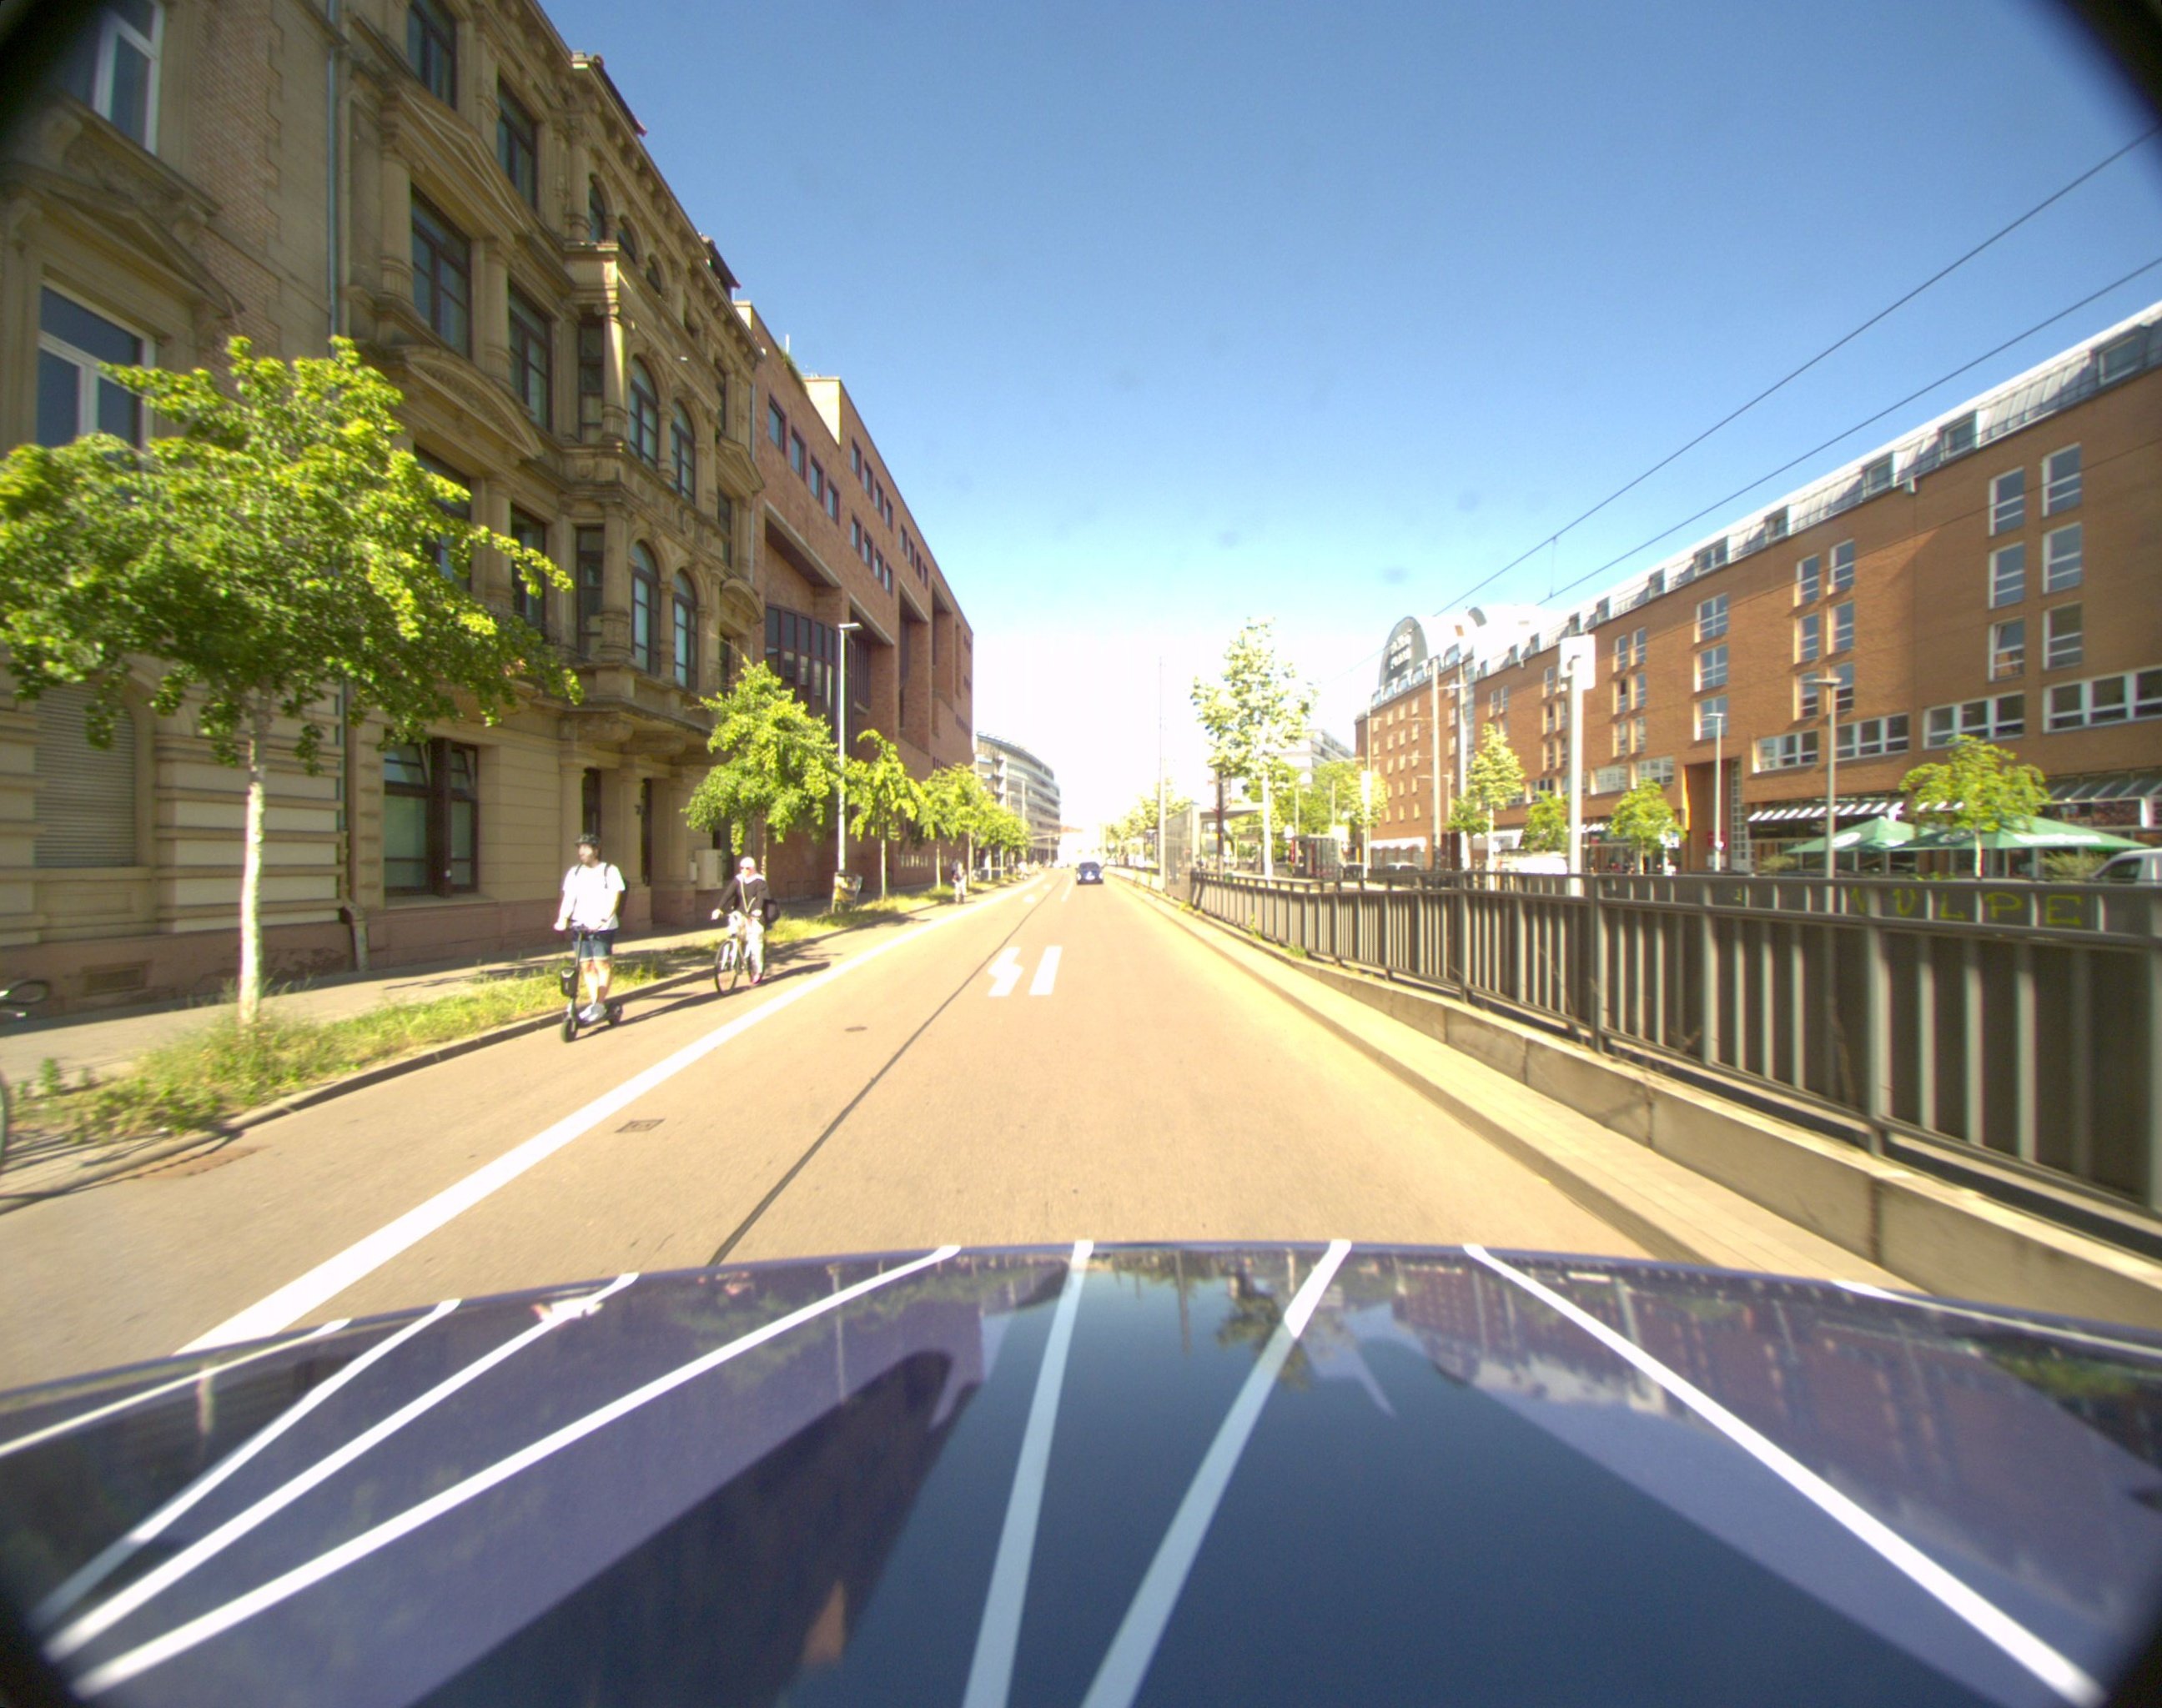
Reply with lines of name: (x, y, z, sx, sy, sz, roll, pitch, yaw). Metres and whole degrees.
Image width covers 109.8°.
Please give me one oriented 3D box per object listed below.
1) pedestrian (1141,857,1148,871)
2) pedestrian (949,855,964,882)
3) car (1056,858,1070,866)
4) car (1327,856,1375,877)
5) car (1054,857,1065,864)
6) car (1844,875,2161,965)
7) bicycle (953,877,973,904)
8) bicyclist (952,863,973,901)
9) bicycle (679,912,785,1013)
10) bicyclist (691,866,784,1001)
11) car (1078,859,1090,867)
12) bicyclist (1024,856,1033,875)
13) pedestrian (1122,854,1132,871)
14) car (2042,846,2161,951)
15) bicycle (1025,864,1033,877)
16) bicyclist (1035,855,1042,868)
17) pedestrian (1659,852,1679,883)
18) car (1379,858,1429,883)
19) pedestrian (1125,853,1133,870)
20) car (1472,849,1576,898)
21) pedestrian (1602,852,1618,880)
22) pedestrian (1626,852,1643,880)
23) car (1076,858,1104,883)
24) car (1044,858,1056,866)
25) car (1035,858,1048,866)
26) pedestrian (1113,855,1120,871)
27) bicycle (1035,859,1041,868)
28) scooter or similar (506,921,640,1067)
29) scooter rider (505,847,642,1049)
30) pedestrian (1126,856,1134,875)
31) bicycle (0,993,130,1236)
pedestrian: (7.122, 1.082, 85.257, 0.610, 1.560, 0.908, 0, 0, -3)
pedestrian: (-8.622, 1.013, 52.654, 0.790, 1.872, 1.106, 0, 0, 0)
car: (-3.711, 1.600, 158.553, 2.120, 1.547, 4.003, 0, 0, 9)
car: (17.798, 0.807, 50.238, 1.699, 1.279, 3.960, -2, 1, 0)
car: (-4.881, 1.585, 174.139, 1.882, 1.455, 4.002, -2, 1, 7)
car: (17.399, 1.152, 14.493, 1.699, 1.279, 3.960, -2, 1, 0)
bicycle: (-4.868, 1.509, 31.318, 0.558, 1.021, 1.507, -2, 0, 0)
bicyclist: (-4.890, 1.142, 31.352, 0.659, 1.528, 0.909, -2, 0, 0)
bicycle: (-4.633, 1.400, 10.225, 0.558, 1.086, 1.792, -2, 0, 0)
bicyclist: (-4.606, 1.039, 10.243, 0.781, 1.701, 0.868, -2, 0, 0)
car: (0.637, 1.907, 160.188, 1.882, 1.455, 4.002, -2, 1, 8)
bicyclist: (-4.697, 1.038, 68.023, 0.684, 1.718, 0.909, -2, 0, 3)
pedestrian: (4.754, 0.877, 78.753, 0.994, 1.800, 1.022, 0, 1, -3)
car: (25.043, 0.979, 16.399, 1.997, 2.356, 5.649, -1, 0, 8)
bicycle: (-4.657, 1.495, 68.139, 0.578, 1.090, 1.507, -2, 0, 2)
bicyclist: (-5.532, 0.950, 98.051, 0.755, 1.607, 0.762, -2, 0, 3)
pedestrian: (34.477, 0.792, 44.545, 0.622, 1.829, 0.645, 0, 0, 0)
car: (24.038, 1.230, 56.712, 1.998, 1.674, 3.999, -2, 1, 0)
pedestrian: (5.130, 0.810, 80.517, 0.756, 1.800, 0.840, 0, 1, -3)
car: (17.930, 0.738, 30.989, 1.824, 1.784, 4.088, -2, 1, 0)
pedestrian: (34.680, 0.791, 49.830, 0.622, 1.829, 0.644, 0, 0, -1)
pedestrian: (35.385, 0.767, 48.549, 0.622, 1.829, 0.644, 0, 0, -1)
car: (0.628, 1.102, 52.414, 1.802, 1.596, 3.999, -2, 1, 0)
car: (-6.739, 1.725, 166.172, 1.882, 1.455, 4.002, -2, 1, 7)
car: (-8.215, 1.696, 159.052, 1.882, 1.455, 4.002, -2, 1, 7)
pedestrian: (4.028, 1.020, 85.812, 0.649, 1.733, 0.820, 0, 0, -3)
bicycle: (-5.504, 1.255, 98.070, 0.578, 1.090, 1.507, -2, 0, 3)
scooter or similar: (-4.975, 1.330, 7.521, 0.492, 1.219, 1.170, -2, 0, 0)
scooter rider: (-4.971, 0.878, 7.508, 0.668, 1.850, 0.901, -2, 0, 0)
pedestrian: (4.362, 1.026, 67.542, 0.710, 1.713, 0.752, 0, 1, -1)
bicycle: (-6.272, 1.288, 3.682, 2.002, 1.086, 0.846, 2, 0, -9)
